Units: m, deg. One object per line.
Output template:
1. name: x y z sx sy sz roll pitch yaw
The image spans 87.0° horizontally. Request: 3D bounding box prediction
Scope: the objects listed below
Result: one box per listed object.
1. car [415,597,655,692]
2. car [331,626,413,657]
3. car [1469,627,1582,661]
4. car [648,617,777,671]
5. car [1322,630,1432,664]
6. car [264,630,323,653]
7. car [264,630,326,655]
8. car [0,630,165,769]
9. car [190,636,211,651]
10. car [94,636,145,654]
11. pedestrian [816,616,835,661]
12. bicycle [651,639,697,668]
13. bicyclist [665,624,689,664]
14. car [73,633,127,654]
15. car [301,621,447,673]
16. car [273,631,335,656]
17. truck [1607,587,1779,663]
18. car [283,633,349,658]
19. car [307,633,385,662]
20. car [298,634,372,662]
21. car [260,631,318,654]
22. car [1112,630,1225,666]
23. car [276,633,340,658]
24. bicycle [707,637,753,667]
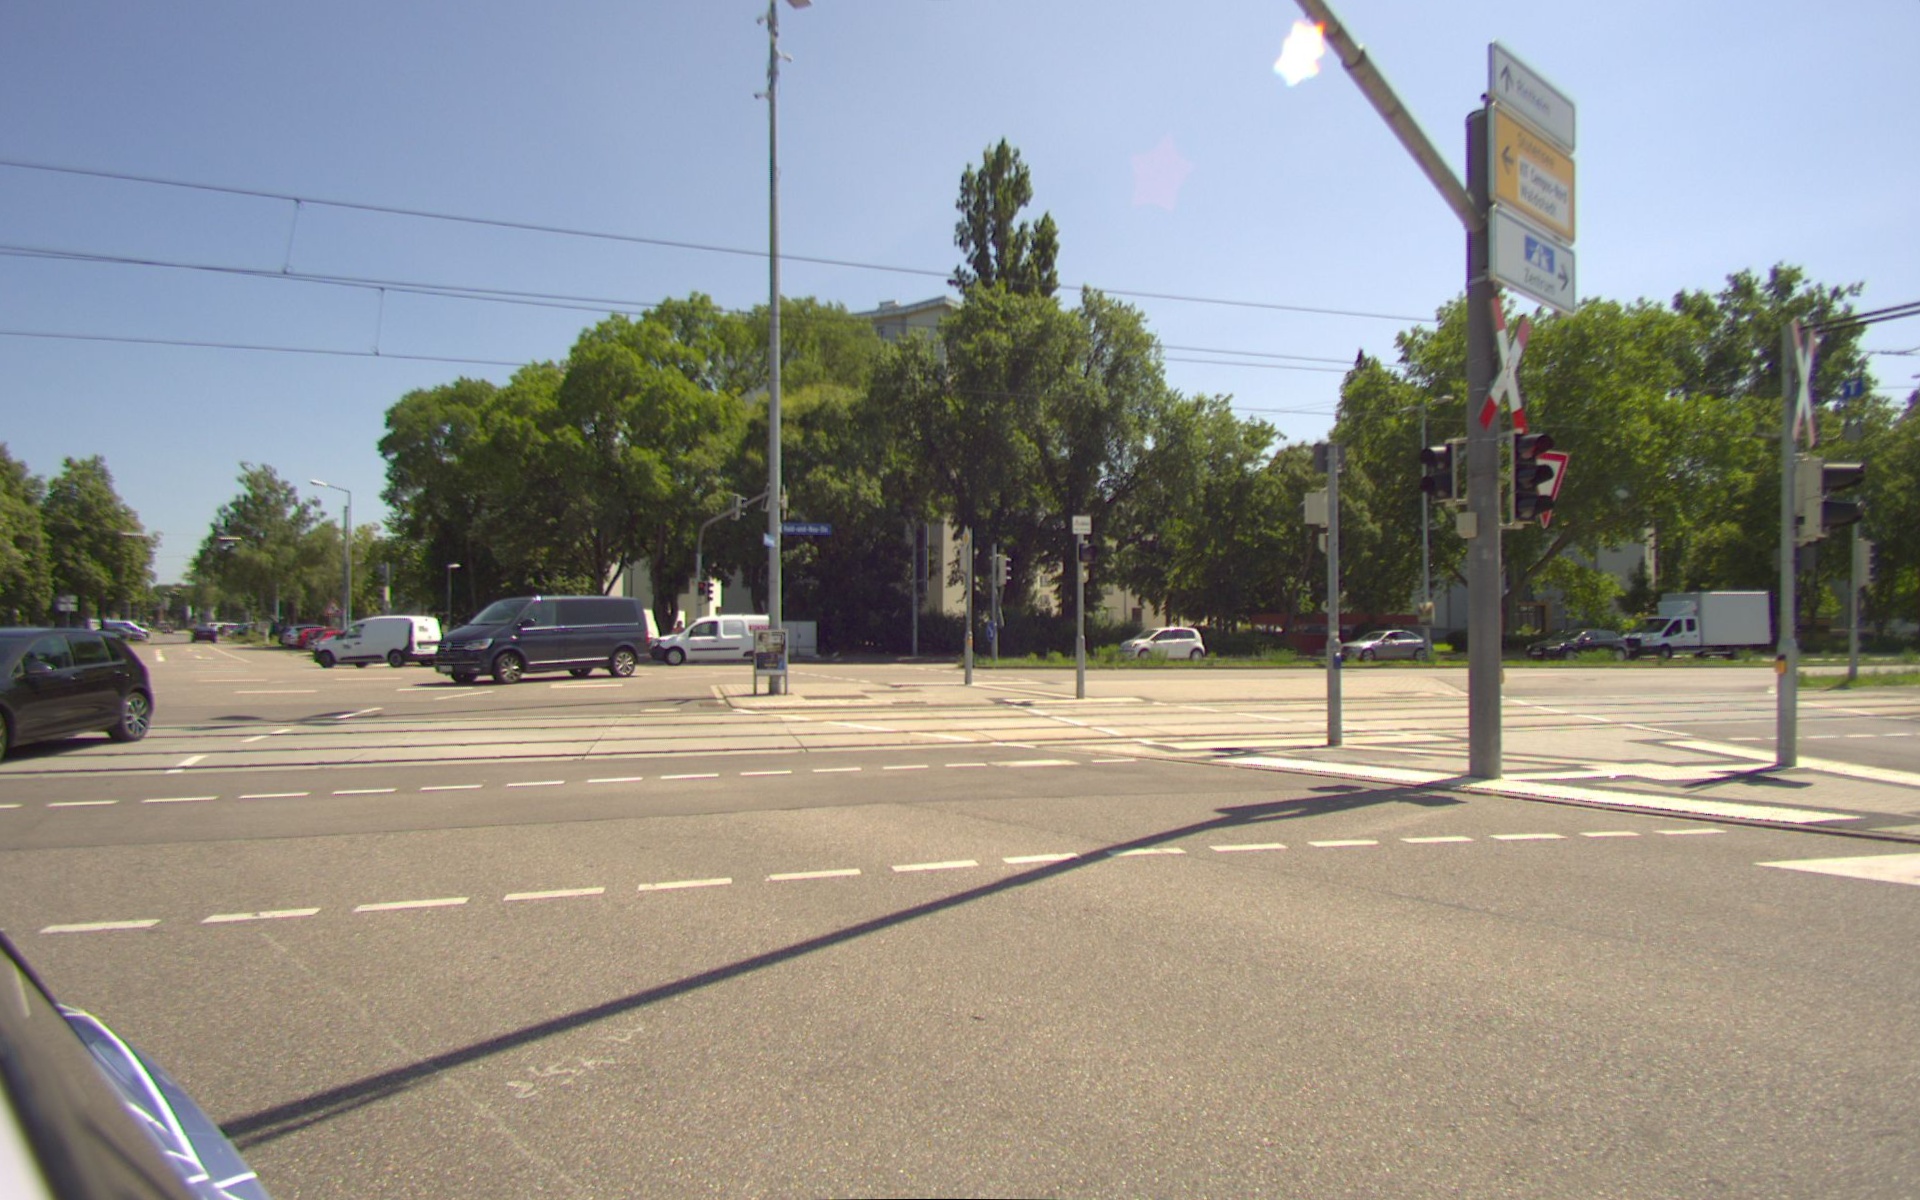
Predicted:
1. car: -9.585 0.968 23.203 1.939 1.946 4.787 -1 -2 36
2. car: -30.580 2.149 52.691 3.439 1.439 1.586 0 -4 -43
3. car: 22.775 1.767 40.799 3.931 1.296 1.752 0 -4 -19
4. car: -8.807 1.574 35.951 4.317 1.807 1.902 0 -4 -18
5. car: 18.208 2.048 44.251 4.143 1.436 1.854 0 -3 -16
6. car: -48.460 3.005 73.557 3.437 1.592 1.587 0 -4 -40
7. car: -46.628 2.969 70.965 3.437 1.566 1.587 0 -4 -40
8. car: -10.839 1.049 11.064 1.682 1.415 4.062 0 -2 -11
9. car: -71.378 4.074 95.134 1.559 1.236 3.499 0 -3 -37
10. car: -72.929 3.898 87.851 3.437 1.487 1.587 0 -4 -40
11. pedestrian: -5.533 1.579 41.653 0.667 1.849 0.609 1 -1 -19
12. bicycle: -10.951 2.038 38.759 1.797 1.071 0.610 -2 -1 28
13. bicyclist: -10.812 1.689 38.703 0.626 1.479 0.610 1 0 28
14. car: -77.159 3.881 90.853 3.714 1.742 1.765 0 -4 -40
15. car: -20.524 1.658 35.534 4.295 1.731 1.805 -1 -3 10
16. car: -45.049 2.980 69.518 3.437 1.566 1.587 0 -4 -40
17. truck: 36.089 1.271 49.859 7.580 3.560 2.596 0 -4 -17
18. car: -41.694 2.937 65.552 3.437 1.439 1.587 0 -4 -40
19. car: -33.310 2.553 54.917 3.437 1.439 1.587 0 -4 -40
20. car: -36.316 2.782 58.820 3.437 1.439 1.587 0 -4 -40
21. car: -49.817 3.139 75.193 3.437 1.592 1.587 0 -4 -40
22. car: 8.560 1.959 41.713 4.143 1.436 1.854 0 -3 -17
23. car: -43.538 3.045 67.629 3.437 1.566 1.587 0 -4 -40
24. bicycle: -8.987 2.029 39.549 1.797 1.071 0.610 2 0 28
